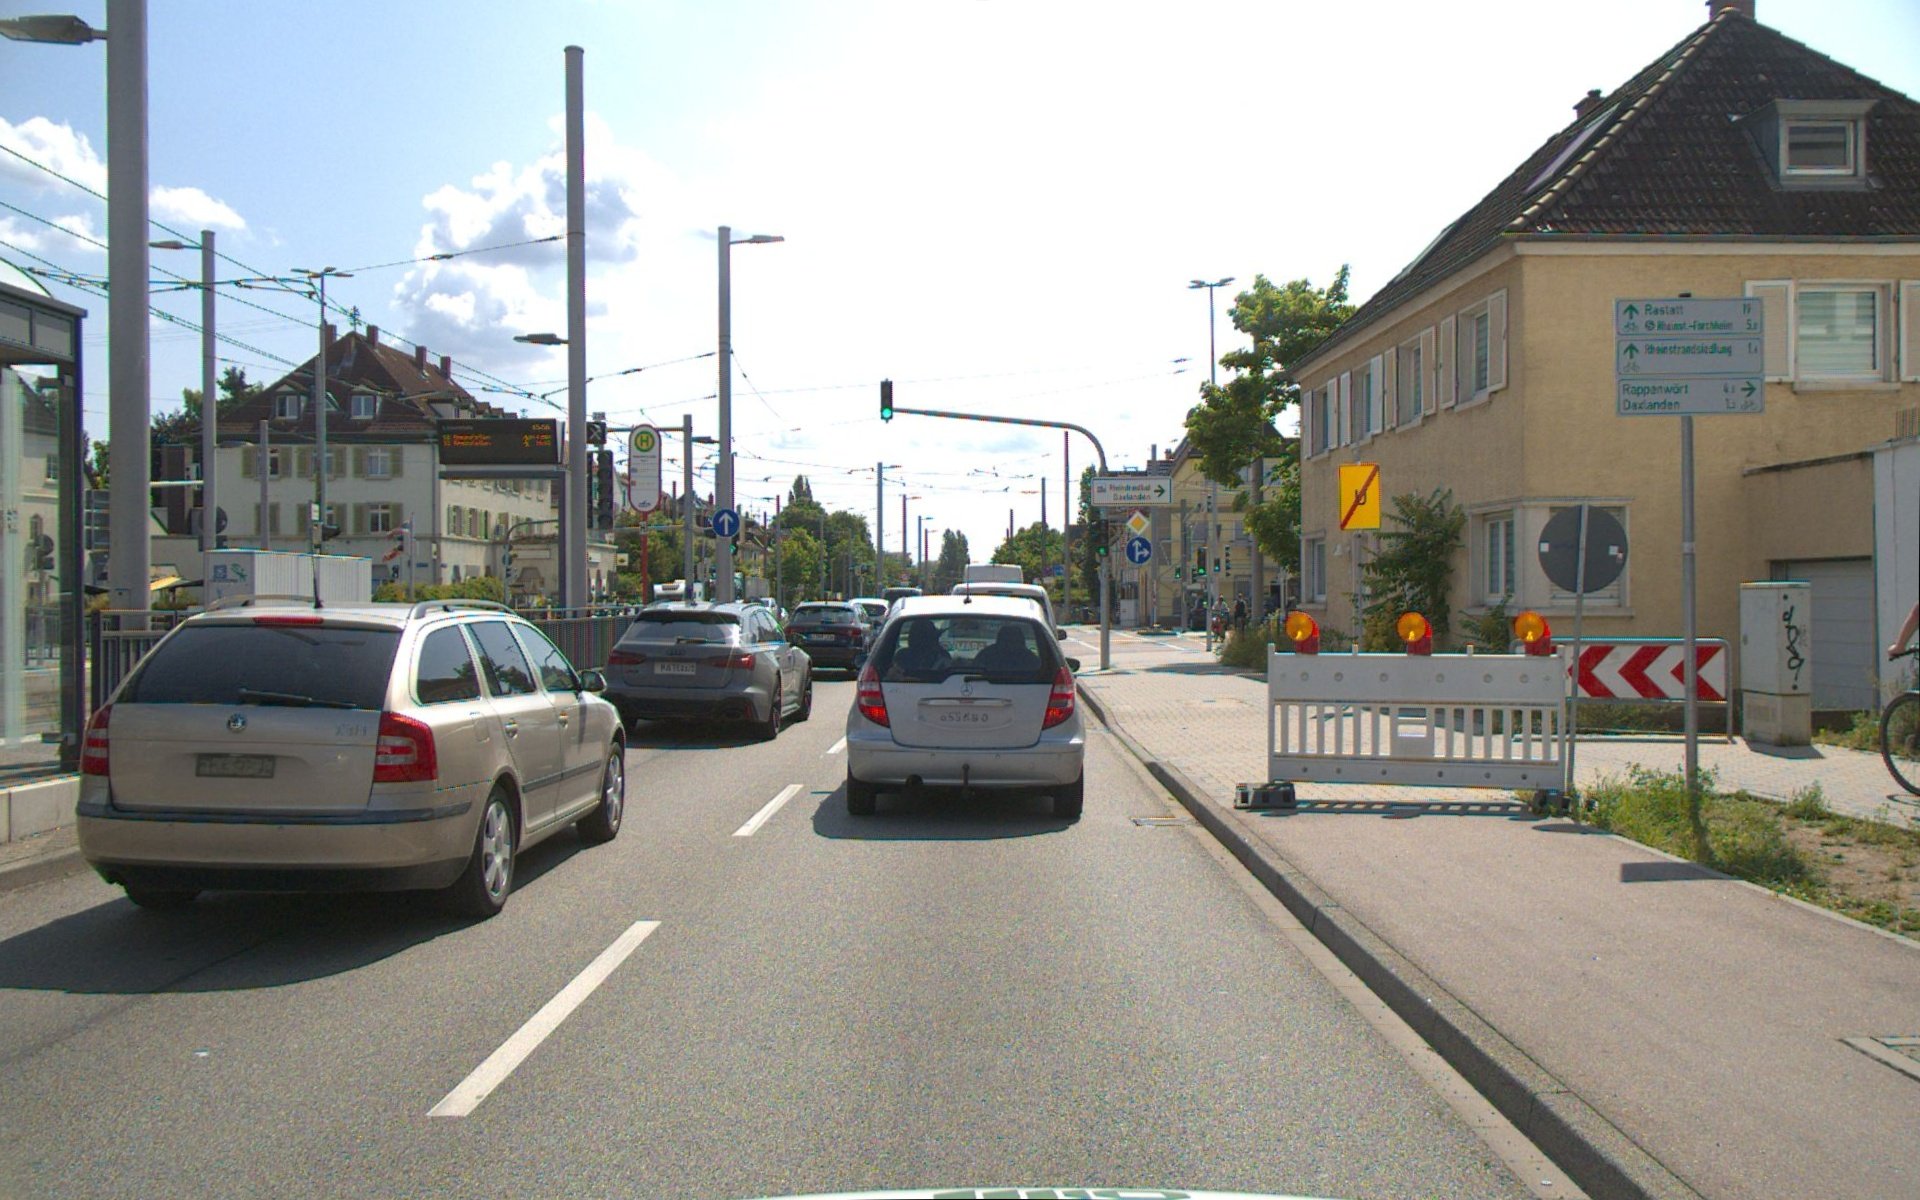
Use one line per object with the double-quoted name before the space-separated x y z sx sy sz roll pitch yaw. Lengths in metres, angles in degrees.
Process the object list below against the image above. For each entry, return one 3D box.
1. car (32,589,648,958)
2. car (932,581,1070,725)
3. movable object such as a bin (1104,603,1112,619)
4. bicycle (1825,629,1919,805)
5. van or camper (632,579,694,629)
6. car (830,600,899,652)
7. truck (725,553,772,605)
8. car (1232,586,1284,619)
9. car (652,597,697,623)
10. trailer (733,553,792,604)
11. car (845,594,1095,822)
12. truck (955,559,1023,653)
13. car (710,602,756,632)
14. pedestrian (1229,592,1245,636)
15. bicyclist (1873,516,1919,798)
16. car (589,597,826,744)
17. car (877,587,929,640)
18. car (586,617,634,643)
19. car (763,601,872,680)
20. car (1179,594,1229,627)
"car" -2.917 0.730 8.814 1.695 1.474 4.122 1 -1 0
"car" 0.483 0.687 22.927 1.695 1.793 4.015 1 -1 -1
"movable object such as a bin" 8.982 0.691 100.552 0.458 0.963 0.558 -1 -1 0
"bicycle" 6.613 0.764 10.685 0.813 1.094 1.968 -2 0 -7
"van or camper" -18.591 0.245 103.965 2.276 2.981 7.755 -2 0 1
"car" -2.733 0.734 47.961 1.815 1.413 3.917 1 -1 -1
"truck" -16.758 -1.668 131.539 2.545 3.887 5.670 -3 0 3
"car" 15.132 0.145 84.044 1.952 1.624 4.131 1 -1 1
"car" -15.632 0.542 90.735 1.649 1.375 4.178 1 -1 1
"trailer" -16.376 -1.784 138.158 2.545 3.887 12.842 -3 1 3
"car" 0.025 0.766 13.390 1.695 1.543 4.015 1 -1 -1
"truck" 0.801 0.189 49.183 1.814 2.597 5.853 1 -1 -1
"car" -14.420 1.050 105.282 1.952 1.807 4.880 -2 0 3
"pedestrian" 10.668 0.531 63.688 0.535 1.672 0.401 1 -1 5
"bicyclist" 6.619 0.361 10.609 0.813 1.825 1.082 -2 0 -8
"car" -2.829 0.750 19.571 1.876 1.503 4.563 1 0 3
"car" -2.064 0.505 61.272 1.815 1.875 3.917 1 -1 -1
"car" -19.216 1.648 90.976 1.650 1.375 4.345 1 -1 0
"car" -2.744 0.767 32.751 1.814 1.413 4.513 1 -1 -1
"car" 12.357 0.541 83.946 1.952 1.624 4.131 1 -1 1
